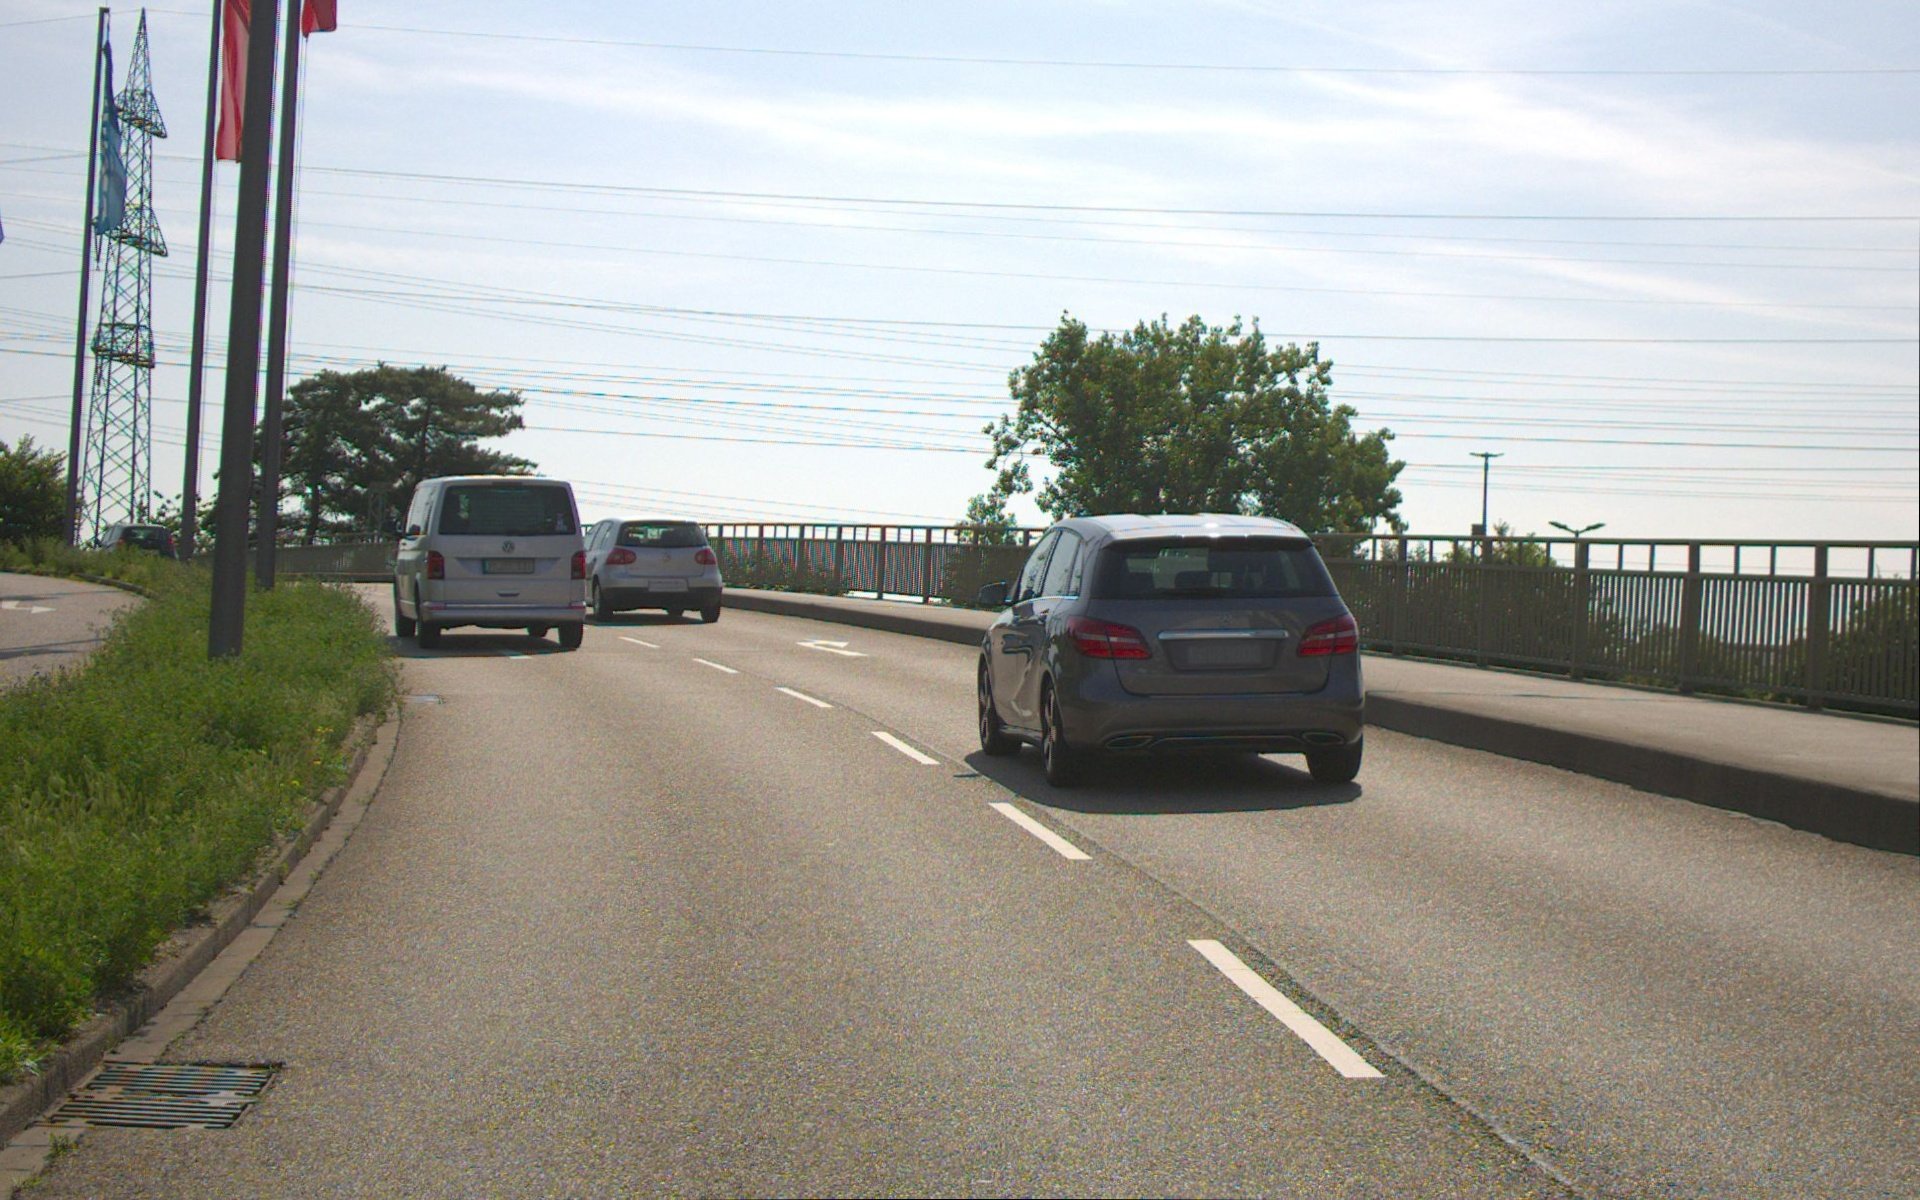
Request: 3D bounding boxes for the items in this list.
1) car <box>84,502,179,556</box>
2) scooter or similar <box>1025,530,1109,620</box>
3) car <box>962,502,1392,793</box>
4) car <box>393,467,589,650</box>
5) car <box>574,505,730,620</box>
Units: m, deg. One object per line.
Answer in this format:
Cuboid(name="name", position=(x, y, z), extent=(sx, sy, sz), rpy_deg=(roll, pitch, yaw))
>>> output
Cuboid(name="car", position=(-21.880, -1.874, 90.703), extent=(1.773, 1.327, 3.742), rpy_deg=(1, 1, -24))
Cuboid(name="scooter or similar", position=(1.421, -0.339, 45.837), extent=(0.511, 1.139, 1.482), rpy_deg=(3, 1, -22))
Cuboid(name="car", position=(1.186, 0.262, 20.713), extent=(1.856, 1.524, 4.145), rpy_deg=(2, 0, -6))
Cuboid(name="car", position=(-5.493, -0.531, 39.864), extent=(2.038, 2.006, 4.001), rpy_deg=(-1, 2, -11))
Cuboid(name="car", position=(-4.423, -0.569, 48.883), extent=(1.856, 1.524, 4.145), rpy_deg=(0, 2, -10))
